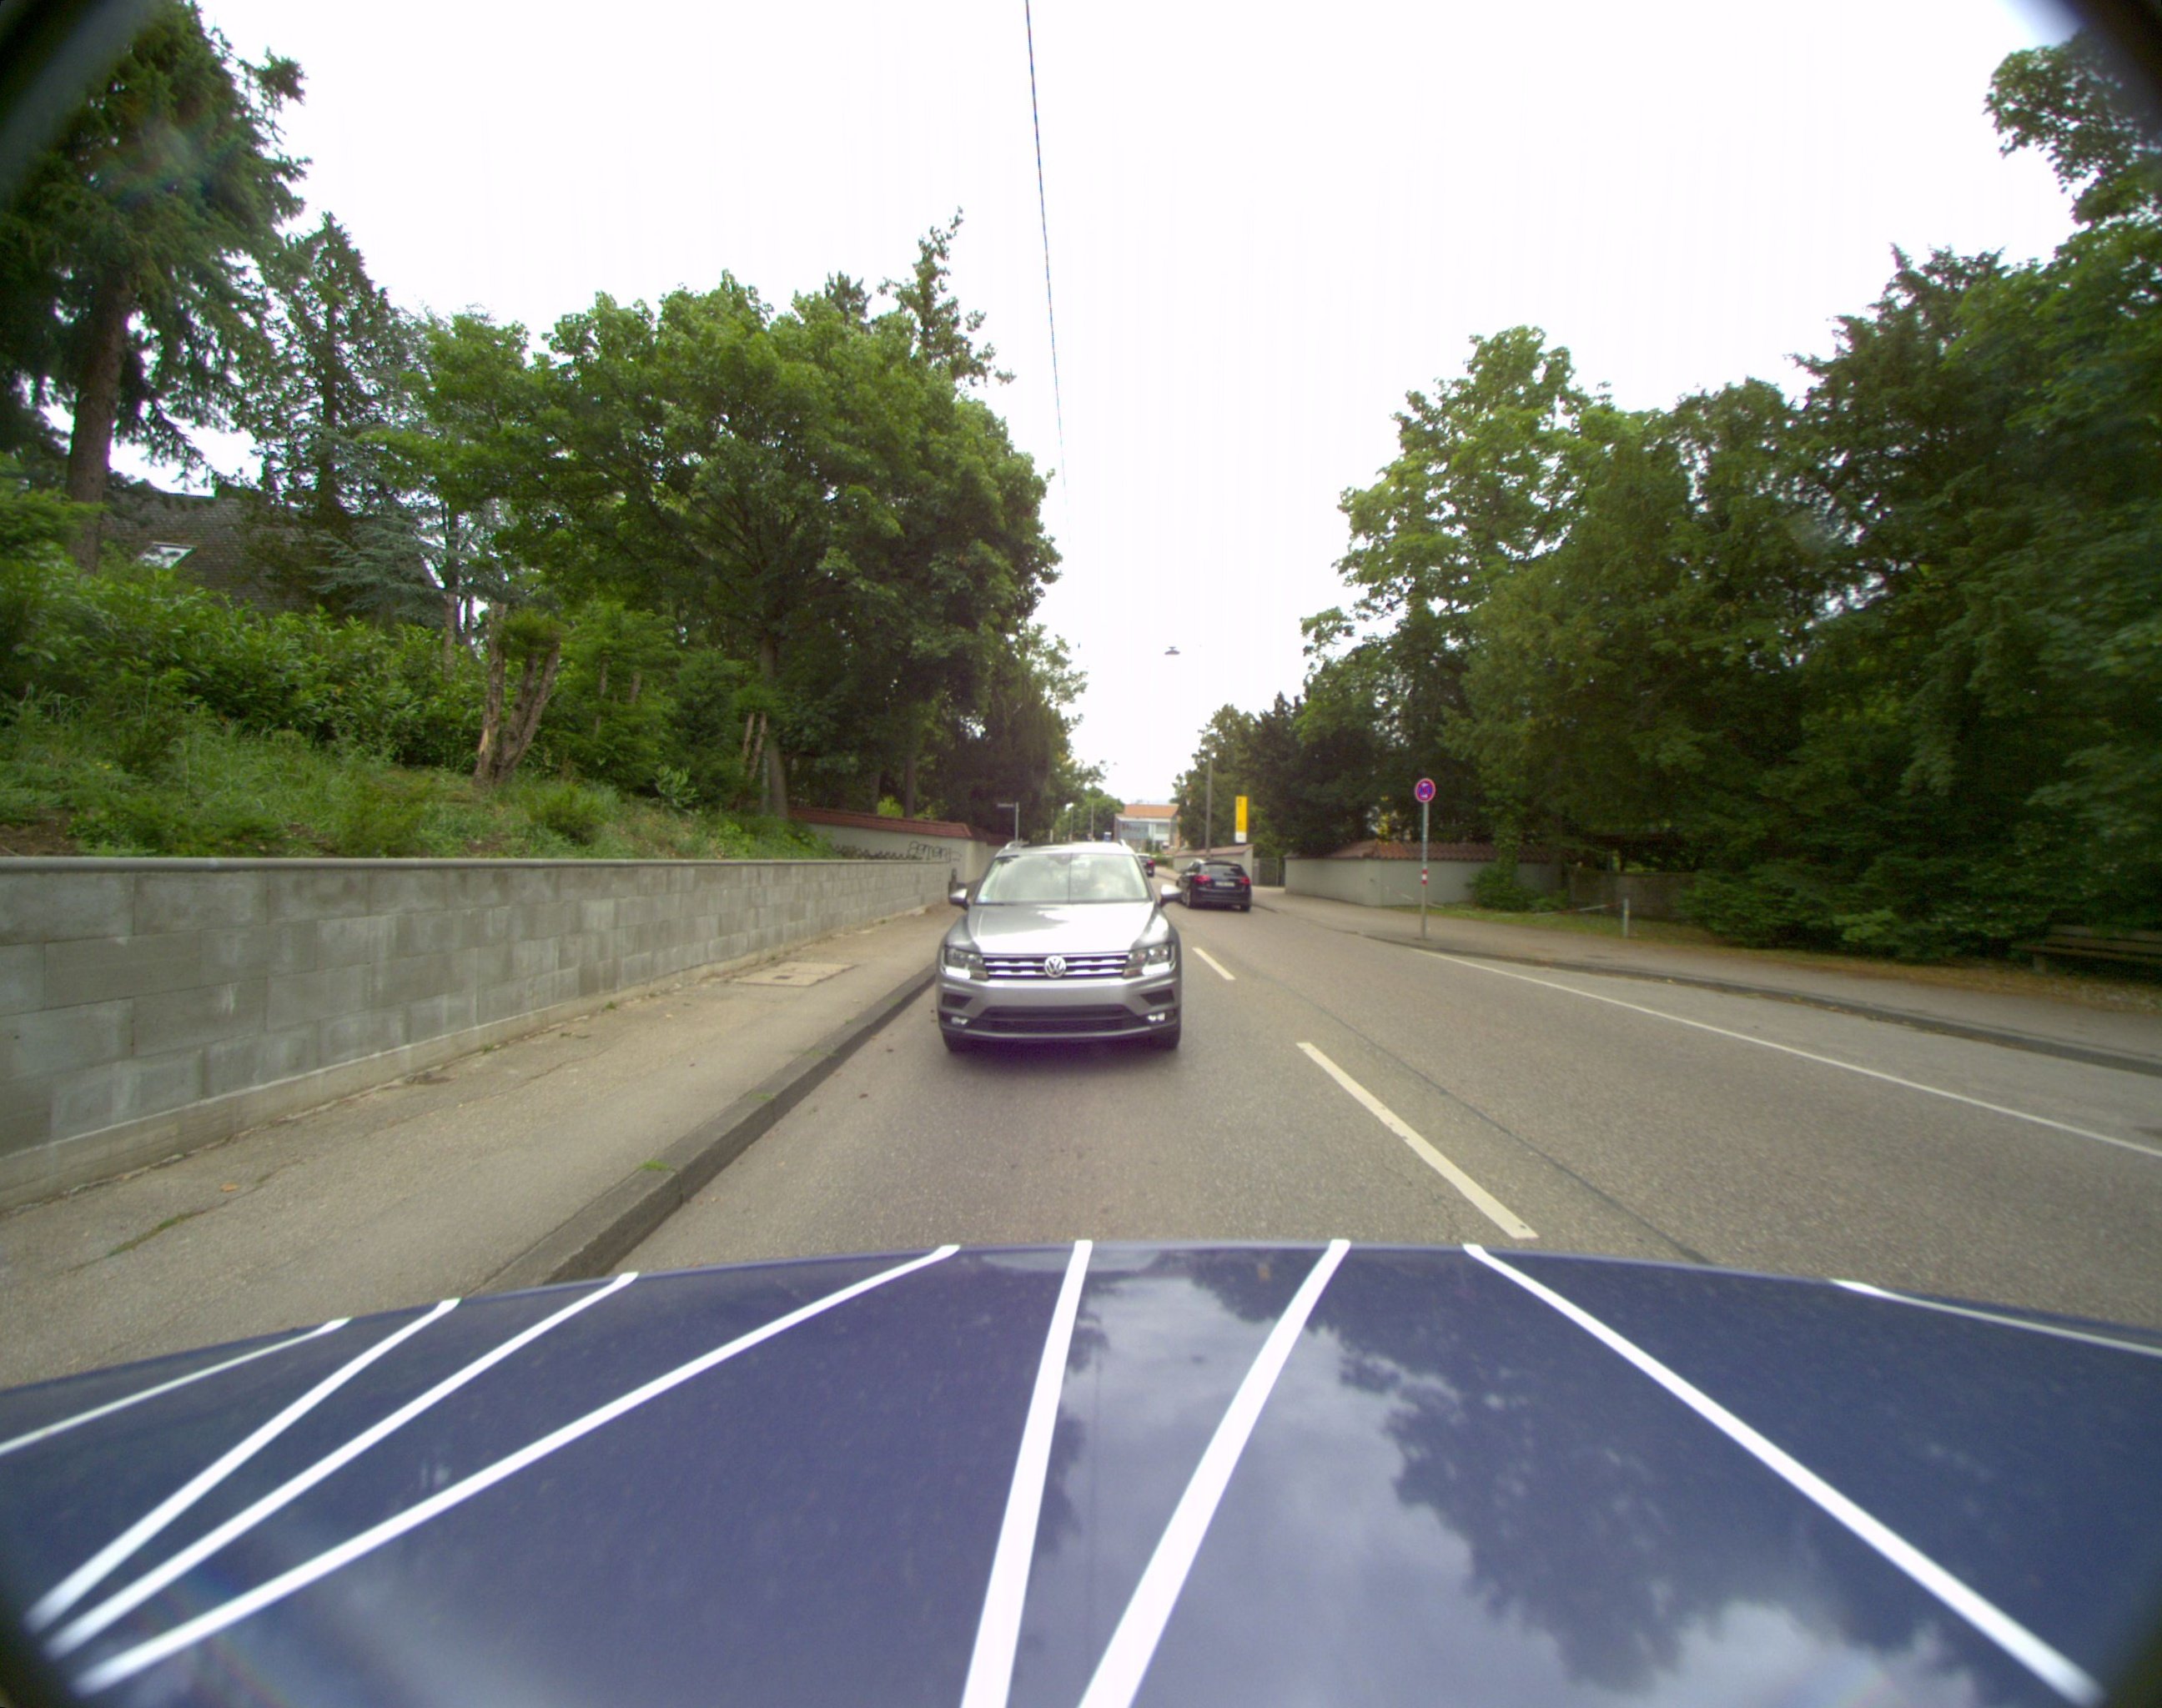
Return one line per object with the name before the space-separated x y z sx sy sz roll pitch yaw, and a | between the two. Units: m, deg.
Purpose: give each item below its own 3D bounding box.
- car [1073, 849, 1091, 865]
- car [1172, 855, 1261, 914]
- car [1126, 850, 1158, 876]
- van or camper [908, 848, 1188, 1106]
car | 0.147 0.302 80.884 1.789 1.644 4.120 3 0 1
car | 3.871 0.826 22.380 1.864 1.445 4.110 3 0 1
car | 4.238 0.575 53.011 1.864 1.648 4.306 3 0 1
van or camper | -0.189 0.784 7.004 1.800 1.663 4.198 0 0 1
